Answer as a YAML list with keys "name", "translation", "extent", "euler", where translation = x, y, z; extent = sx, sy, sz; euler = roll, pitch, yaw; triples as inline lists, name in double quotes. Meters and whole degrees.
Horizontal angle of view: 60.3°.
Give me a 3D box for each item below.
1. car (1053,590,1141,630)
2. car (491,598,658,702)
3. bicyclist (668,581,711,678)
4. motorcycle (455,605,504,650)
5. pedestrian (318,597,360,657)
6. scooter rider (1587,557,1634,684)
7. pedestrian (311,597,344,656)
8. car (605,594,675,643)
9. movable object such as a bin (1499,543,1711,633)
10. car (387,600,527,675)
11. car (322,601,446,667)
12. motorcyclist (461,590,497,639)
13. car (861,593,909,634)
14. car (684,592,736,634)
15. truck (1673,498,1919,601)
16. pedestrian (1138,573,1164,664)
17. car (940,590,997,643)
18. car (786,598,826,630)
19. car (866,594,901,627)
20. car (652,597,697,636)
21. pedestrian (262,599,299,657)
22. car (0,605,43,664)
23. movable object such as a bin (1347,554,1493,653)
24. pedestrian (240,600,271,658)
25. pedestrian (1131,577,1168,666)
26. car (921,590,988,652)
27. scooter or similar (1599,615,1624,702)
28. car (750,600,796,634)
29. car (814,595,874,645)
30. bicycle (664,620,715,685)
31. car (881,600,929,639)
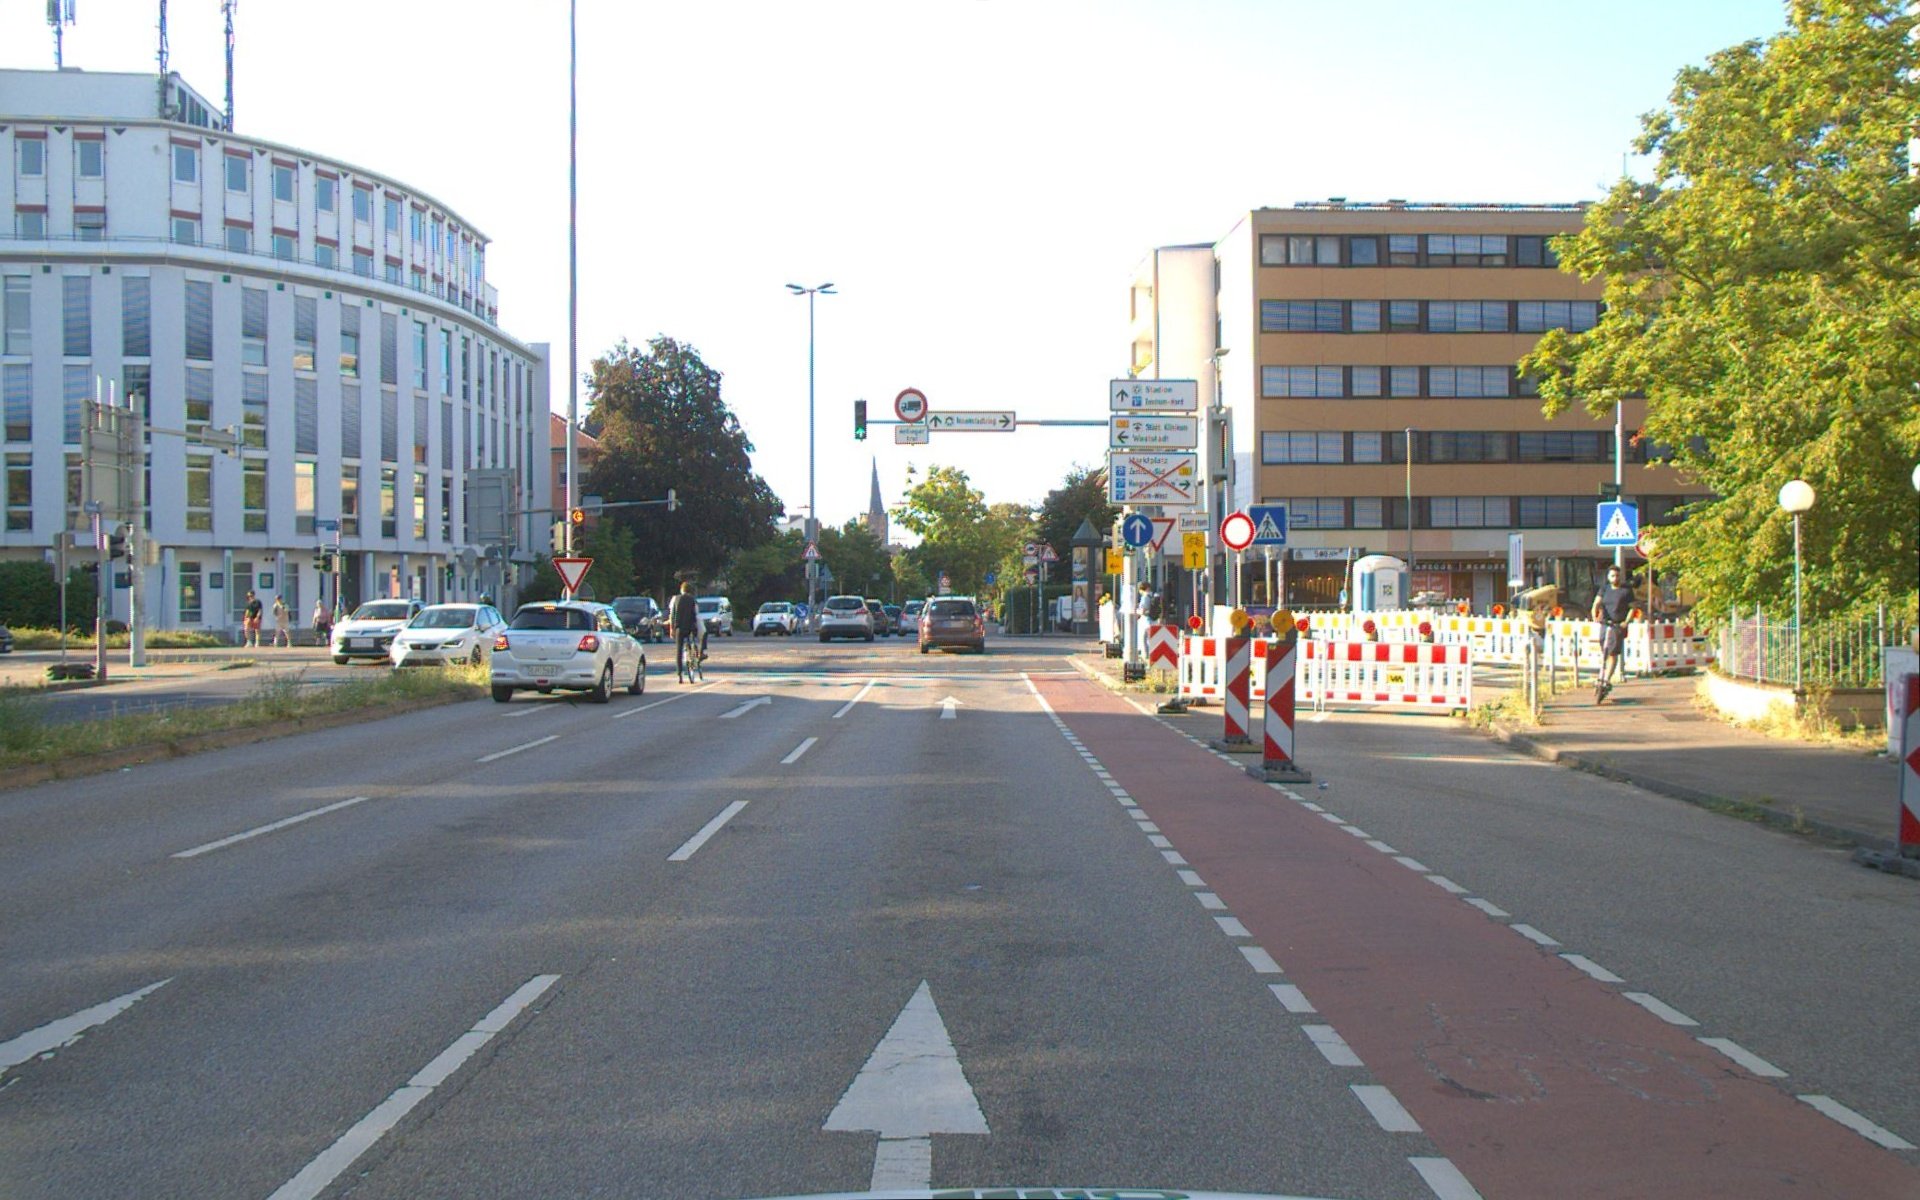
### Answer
- name: "car"
  translation: [6.930, 0.500, 84.002]
  extent: [4.276, 1.910, 1.999]
  euler: [-1, 0, -2]
- name: "car"
  translation: [-5.943, 0.721, 25.914]
  extent: [1.650, 1.482, 4.000]
  euler: [0, 0, 0]
- name: "bicyclist"
  translation: [-5.012, 0.542, 30.702]
  extent: [0.677, 1.758, 0.987]
  euler: [-1, 0, -3]
- name: "motorcycle"
  translation: [-14.547, 0.818, 50.113]
  extent: [0.754, 1.307, 2.841]
  euler: [-1, 0, -2]
- name: "pedestrian"
  translation: [-20.113, 0.865, 53.579]
  extent: [0.614, 1.901, 1.126]
  euler: [-1, 0, 27]
- name: "scooter rider"
  translation: [9.468, 0.296, 24.074]
  extent: [0.602, 1.821, 0.487]
  euler: [-1, 0, 21]
- name: "pedestrian"
  translation: [-20.683, 0.852, 54.073]
  extent: [0.646, 1.901, 0.778]
  euler: [-1, 0, 21]
- name: "car"
  translation: [-10.428, 0.571, 54.106]
  extent: [1.624, 1.521, 3.999]
  euler: [-1, 0, -2]
- name: "movable object such as a bin"
  translation: [19.017, -0.350, 48.963]
  extent: [5.243, 2.534, 2.547]
  euler: [-1, 0, -3]
- name: "car"
  translation: [-10.304, 0.734, 34.205]
  extent: [1.650, 1.417, 4.180]
  euler: [-1, 0, -1]
- name: "car"
  translation: [-14.301, 0.797, 41.312]
  extent: [1.651, 1.525, 4.512]
  euler: [-1, 0, -2]
- name: "motorcyclist"
  translation: [-14.546, 0.435, 50.023]
  extent: [0.754, 1.444, 1.238]
  euler: [-1, 0, -2]
- name: "car"
  translation: [-3.021, 0.537, 67.190]
  extent: [1.712, 1.591, 4.049]
  euler: [-1, 0, 0]
- name: "car"
  translation: [-11.495, 0.566, 76.238]
  extent: [1.877, 1.843, 4.714]
  euler: [-1, 0, -3]
- name: "truck"
  translation: [25.674, -1.489, 49.870]
  extent: [7.187, 2.949, 2.806]
  euler: [-1, 0, -4]
- name: "pedestrian"
  translation: [4.042, 0.394, 34.997]
  extent: [0.509, 1.901, 0.615]
  euler: [-1, 0, 5]
- name: "car"
  translation: [0.254, 0.530, 55.229]
  extent: [1.782, 1.668, 3.999]
  euler: [-1, 0, -1]
- name: "car"
  translation: [-7.585, 0.663, 81.839]
  extent: [1.811, 1.487, 4.047]
  euler: [-1, 0, -3]
- name: "car"
  translation: [-4.057, 0.557, 88.073]
  extent: [1.630, 1.686, 4.000]
  euler: [-1, 0, 0]
- name: "car"
  translation: [-14.116, 0.802, 81.882]
  extent: [1.713, 1.843, 4.047]
  euler: [-1, 0, -3]
- name: "pedestrian"
  translation: [-22.120, 0.898, 53.857]
  extent: [0.743, 1.874, 0.818]
  euler: [-1, 0, 20]
- name: "car"
  translation: [-27.890, 1.031, 45.975]
  extent: [3.733, 1.557, 1.861]
  euler: [-2, -2, -4]
- name: "movable object such as a bin"
  translation: [11.632, 0.091, 41.935]
  extent: [3.261, 2.425, 1.528]
  euler: [-1, 0, -1]
- name: "pedestrian"
  translation: [-22.948, 0.937, 53.889]
  extent: [0.646, 1.891, 0.778]
  euler: [-1, 0, -1]
- name: "pedestrian"
  translation: [3.934, 0.440, 34.325]
  extent: [0.725, 1.831, 0.716]
  euler: [-1, 0, 5]
- name: "car"
  translation: [-0.132, 0.536, 44.722]
  extent: [1.712, 1.591, 4.049]
  euler: [-1, 0, 0]
- name: "scooter or similar"
  translation: [9.477, 0.828, 24.053]
  extent: [0.323, 1.215, 1.250]
  euler: [-1, 0, 22]
- name: "car"
  translation: [-8.539, 0.762, 75.712]
  extent: [1.811, 1.487, 4.047]
  euler: [-1, 0, -3]
- name: "car"
  translation: [-3.879, 0.650, 55.727]
  extent: [1.712, 1.591, 4.049]
  euler: [-1, 0, 0]
- name: "bicycle"
  translation: [-5.013, 0.953, 30.782]
  extent: [0.686, 1.119, 2.256]
  euler: [-1, 0, -3]
- name: "car"
  translation: [-2.375, 0.861, 72.229]
  extent: [1.953, 1.534, 3.998]
  euler: [-2, -2, -1]
